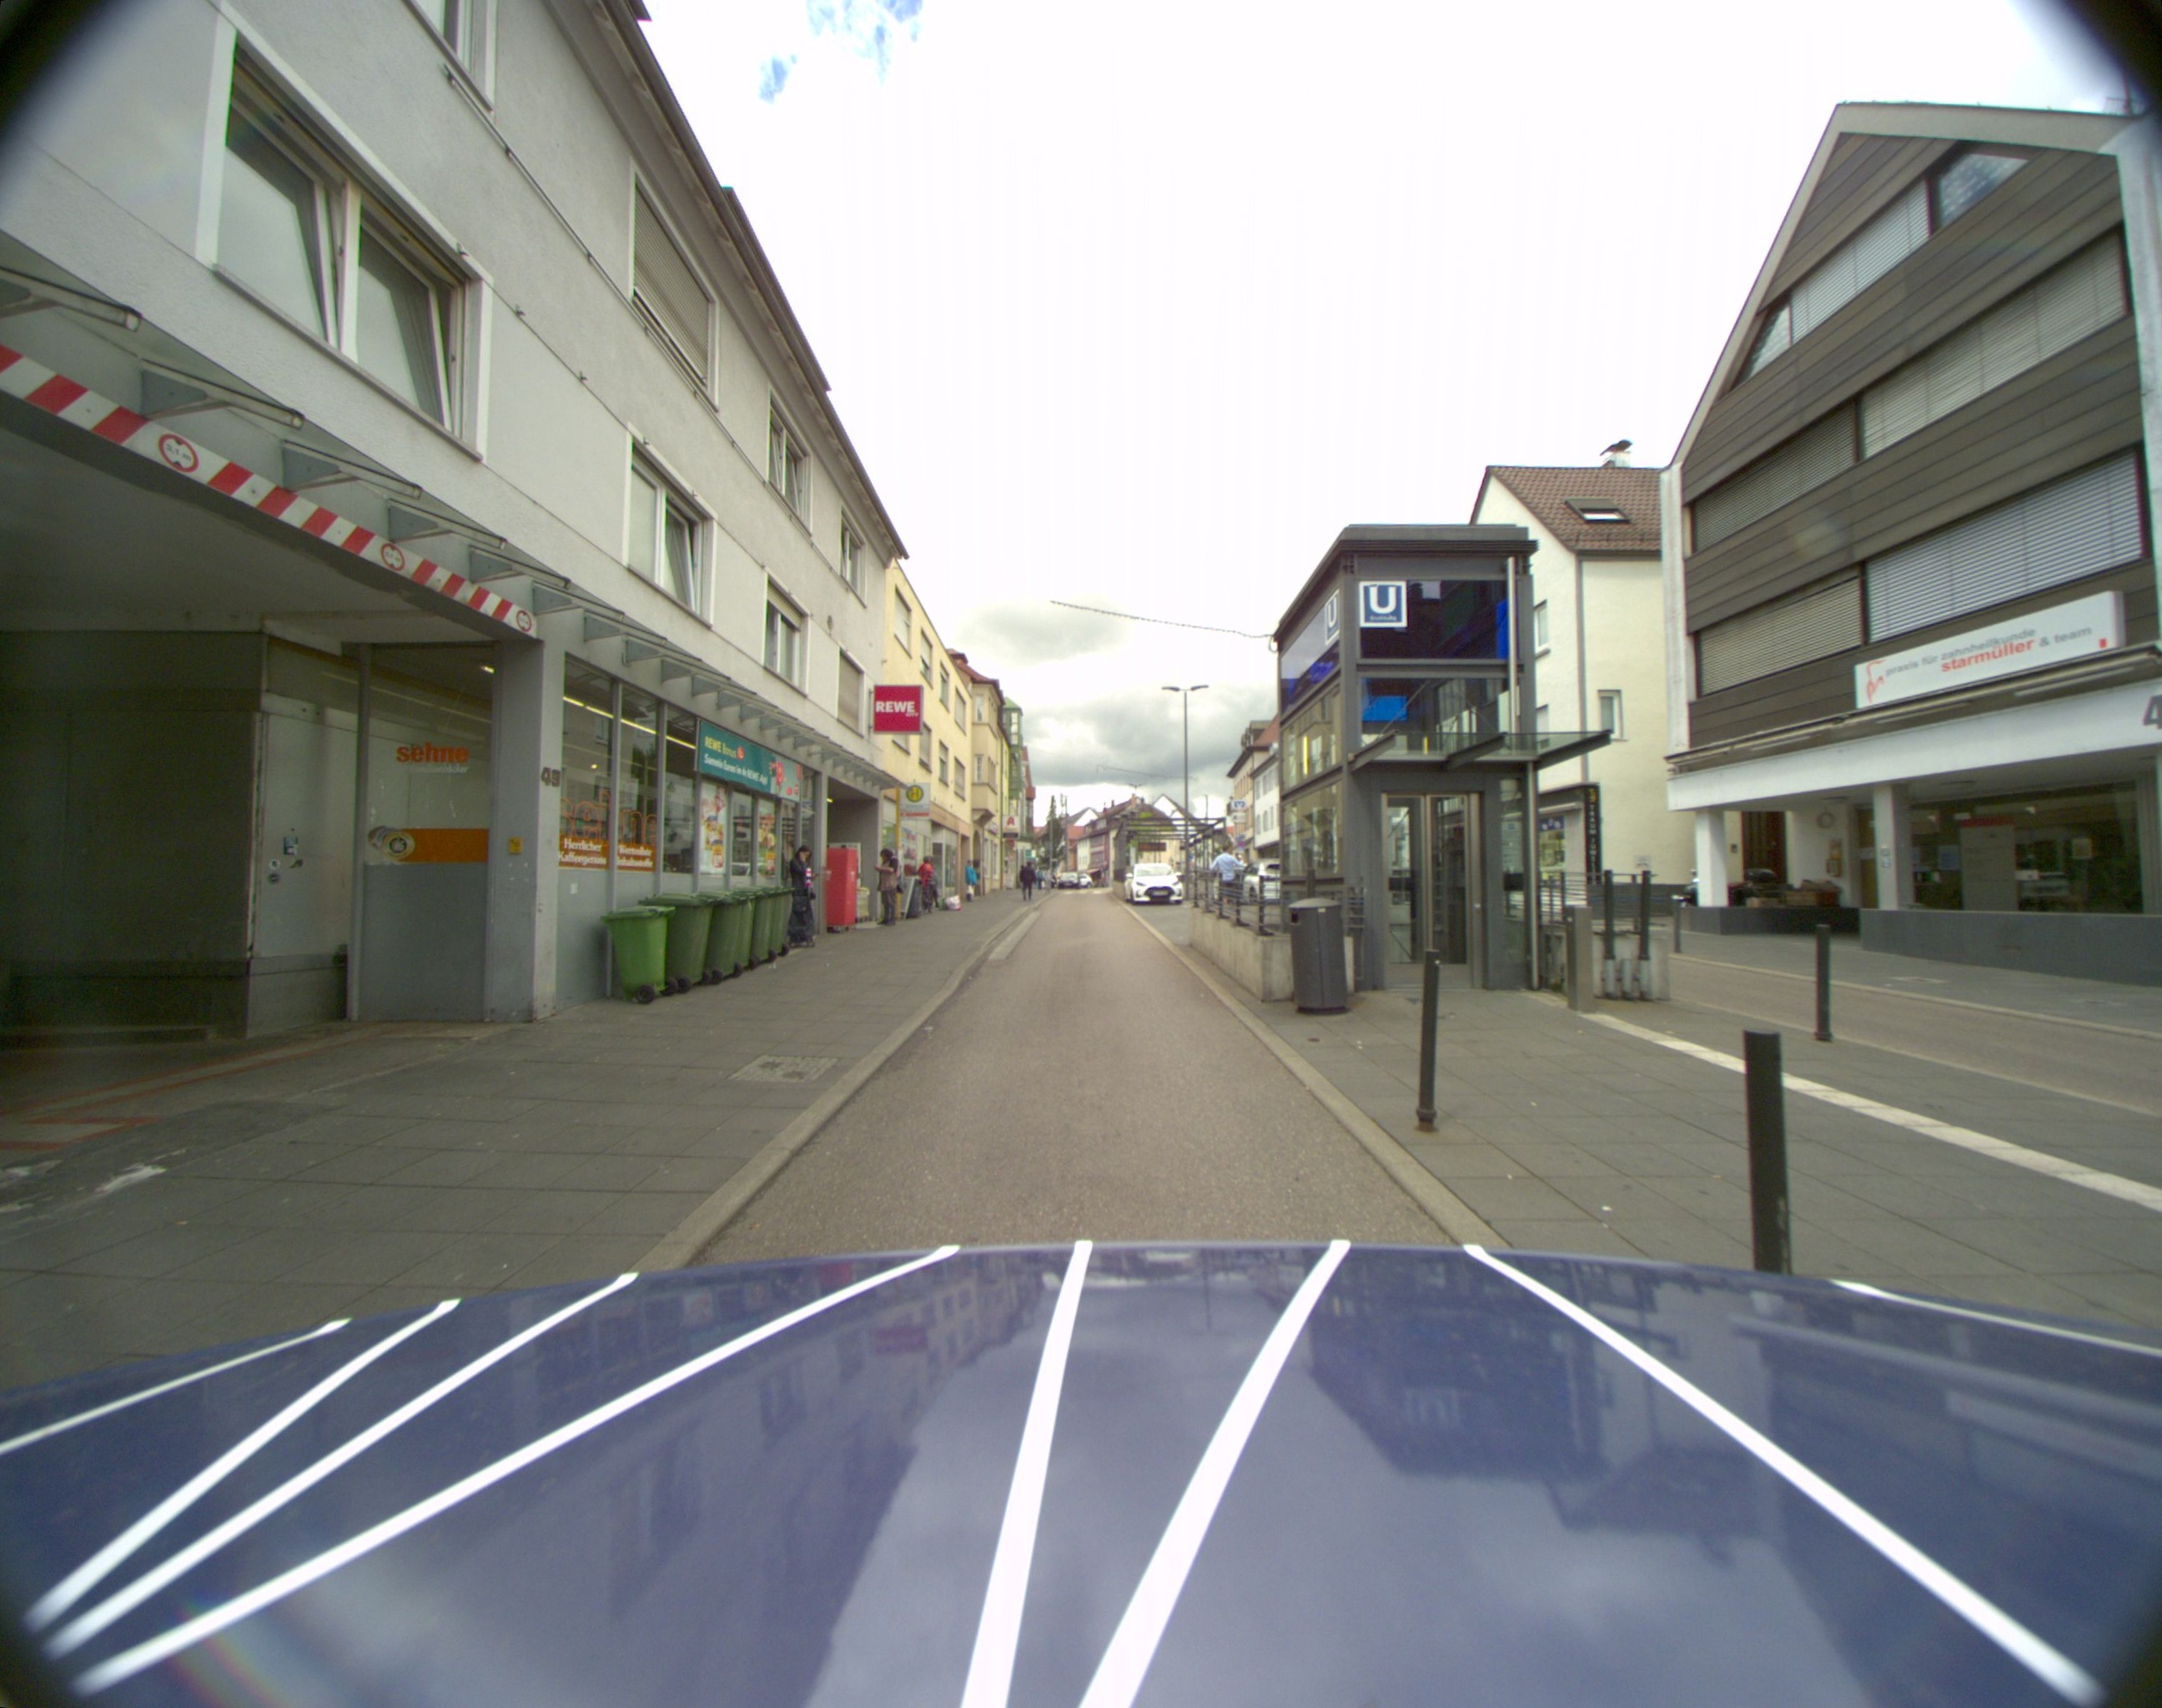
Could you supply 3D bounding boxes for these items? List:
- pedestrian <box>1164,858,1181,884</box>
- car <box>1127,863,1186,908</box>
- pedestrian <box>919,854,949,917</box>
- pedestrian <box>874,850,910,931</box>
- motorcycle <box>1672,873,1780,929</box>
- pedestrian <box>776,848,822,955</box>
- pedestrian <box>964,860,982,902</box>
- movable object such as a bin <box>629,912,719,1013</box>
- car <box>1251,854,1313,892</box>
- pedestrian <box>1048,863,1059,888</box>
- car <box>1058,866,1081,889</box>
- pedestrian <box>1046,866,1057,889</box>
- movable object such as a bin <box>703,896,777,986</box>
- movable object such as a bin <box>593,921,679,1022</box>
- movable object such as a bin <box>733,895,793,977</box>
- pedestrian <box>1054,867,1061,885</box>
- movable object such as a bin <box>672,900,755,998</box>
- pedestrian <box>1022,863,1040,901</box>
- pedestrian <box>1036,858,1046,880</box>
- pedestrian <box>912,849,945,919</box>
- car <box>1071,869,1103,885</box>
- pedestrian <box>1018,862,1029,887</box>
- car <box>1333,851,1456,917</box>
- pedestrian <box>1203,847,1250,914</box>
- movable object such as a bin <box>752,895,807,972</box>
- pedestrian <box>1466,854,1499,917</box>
[{"bbox_3d":[5.775,1.050,47.780,0.745,1.620,0.655,-3,1,-39],"label":"pedestrian"},{"bbox_3d":[2.672,1.105,27.599,1.754,1.452,3.602,-2,-1,0],"label":"car"},{"bbox_3d":[-4.133,0.880,21.349,0.608,1.716,0.626,-3,1,-29],"label":"pedestrian"},{"bbox_3d":[-4.124,0.785,16.636,0.627,1.716,0.607,2,1,-4],"label":"pedestrian"},{"bbox_3d":[14.316,1.039,16.893,1.854,1.134,0.634,-2,1,-1],"label":"motorcycle"},{"bbox_3d":[-4.709,0.767,12.680,0.628,1.716,0.606,-3,1,-23],"label":"pedestrian"},{"bbox_3d":[-4.309,1.078,30.385,0.627,1.620,0.606,-2,1,-5],"label":"pedestrian"},{"bbox_3d":[-4.436,1.165,8.308,0.670,1.024,0.560,0,0,0],"label":"movable object such as a bin"},{"bbox_3d":[9.113,0.814,34.767,1.684,1.562,4.122,-2,1,0],"label":"car"},{"bbox_3d":[-1.848,1.439,50.778,0.657,1.620,0.743,-2,1,-7],"label":"pedestrian"},{"bbox_3d":[-0.904,1.804,60.419,1.741,1.608,3.842,-2,1,0],"label":"car"},{"bbox_3d":[-2.183,1.736,55.995,0.657,1.620,0.743,-2,1,-7],"label":"pedestrian"},{"bbox_3d":[-4.336,1.092,9.698,0.652,1.074,0.659,0,0,0],"label":"movable object such as a bin"},{"bbox_3d":[-4.498,1.171,7.701,0.568,0.951,0.498,0,0,0],"label":"movable object such as a bin"},{"bbox_3d":[-4.321,1.100,10.342,0.569,1.053,0.574,0,0,0],"label":"movable object such as a bin"},{"bbox_3d":[-2.210,2.074,71.414,0.657,1.620,0.743,-2,1,-3],"label":"pedestrian"},{"bbox_3d":[-4.317,1.099,8.967,0.652,1.074,0.673,0,0,0],"label":"movable object such as a bin"},{"bbox_3d":[-2.164,1.199,32.952,0.657,1.620,0.743,-2,1,-2],"label":"pedestrian"},{"bbox_3d":[-2.960,1.113,56.156,0.657,1.620,0.743,-2,1,-7],"label":"pedestrian"},{"bbox_3d":[-4.119,0.798,20.514,0.628,1.811,0.605,-3,1,-34],"label":"pedestrian"},{"bbox_3d":[0.710,2.534,84.614,1.774,1.570,4.634,-1,0,24],"label":"car"},{"bbox_3d":[-3.874,1.375,51.214,0.657,1.620,0.743,-2,1,-2],"label":"pedestrian"},{"bbox_3d":[8.515,0.746,21.035,1.684,1.562,4.122,-2,1,0],"label":"car"},{"bbox_3d":[4.131,0.734,21.680,1.097,1.831,0.931,-2,1,1],"label":"pedestrian"},{"bbox_3d":[-4.326,1.133,10.926,0.560,1.050,0.559,0,0,0],"label":"movable object such as a bin"},{"bbox_3d":[11.173,0.858,21.141,0.592,1.706,0.513,-2,1,0],"label":"pedestrian"}]
